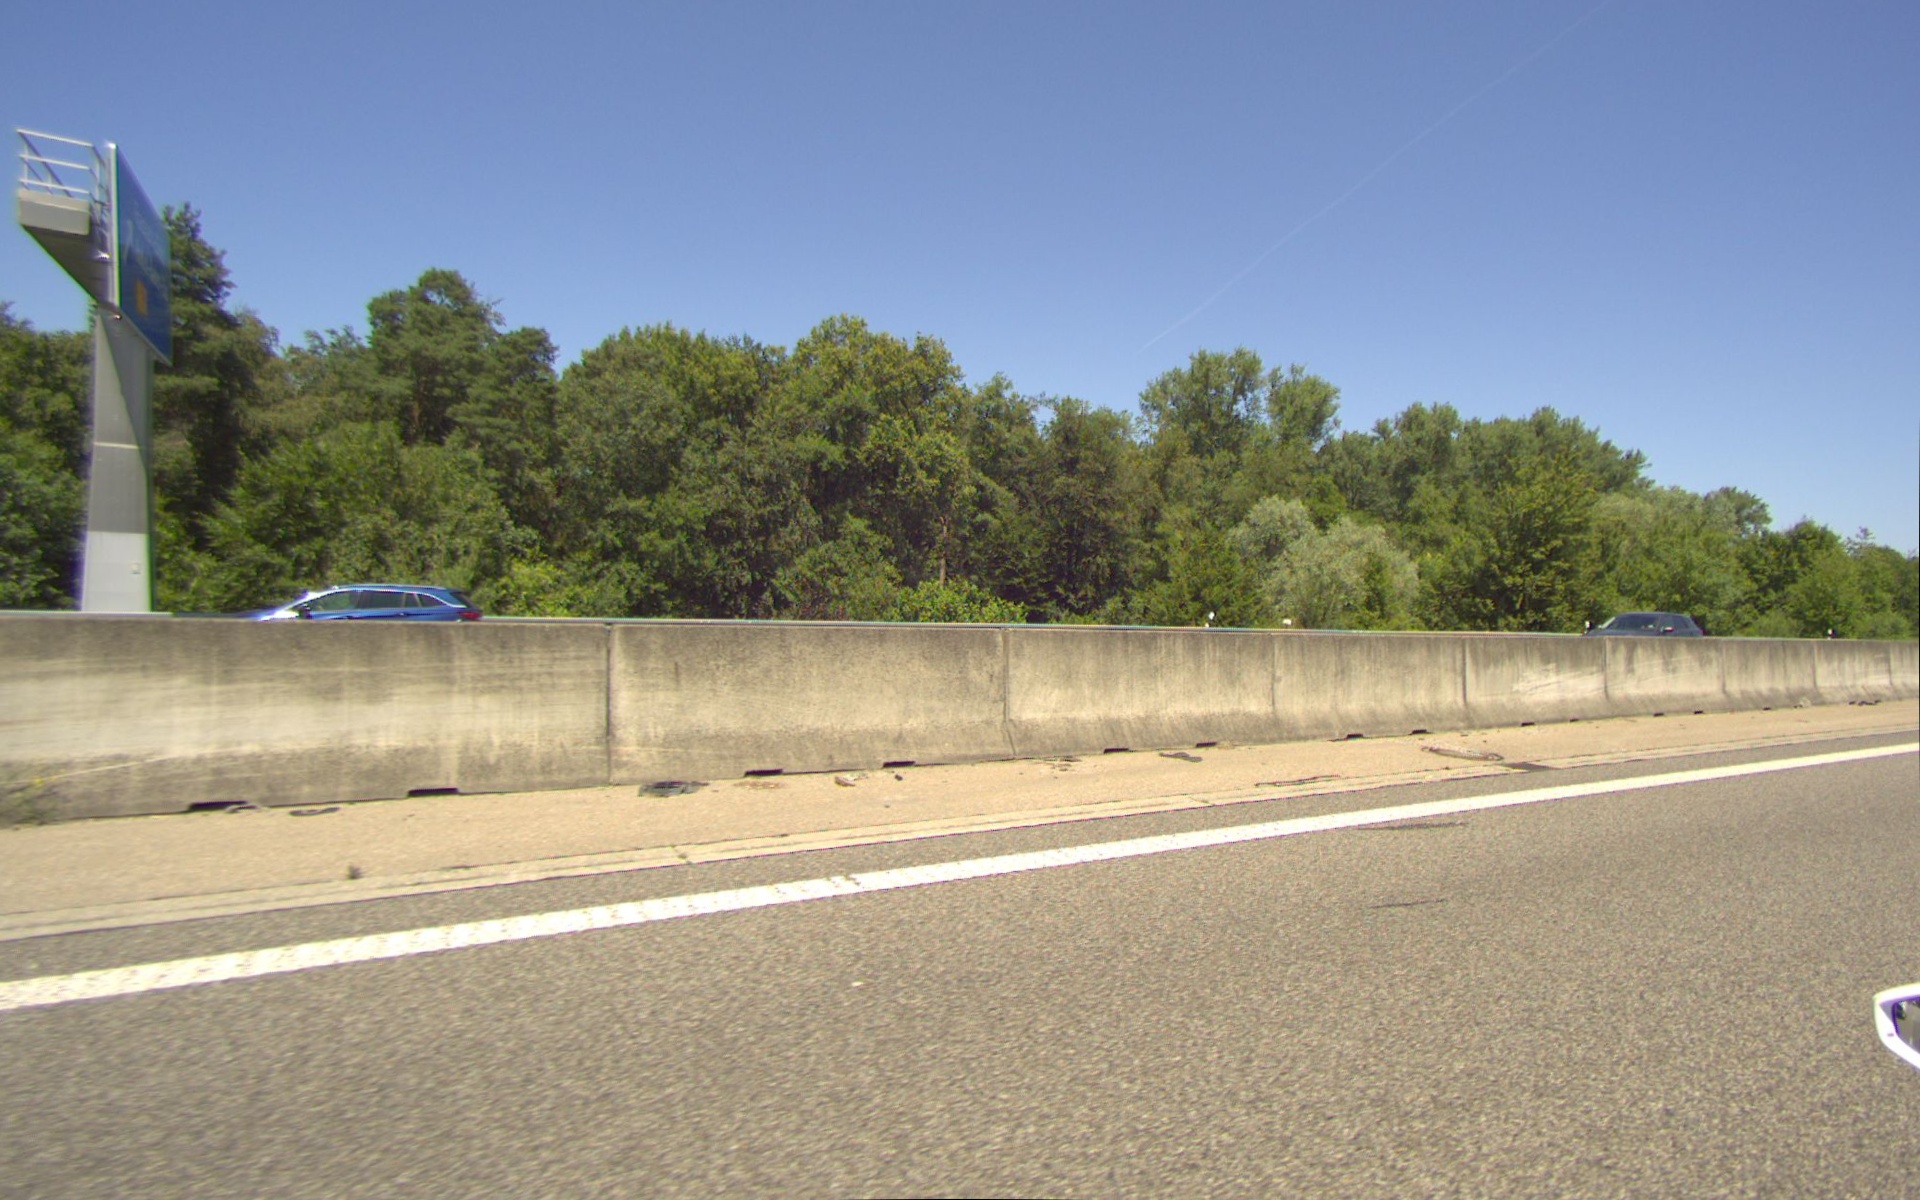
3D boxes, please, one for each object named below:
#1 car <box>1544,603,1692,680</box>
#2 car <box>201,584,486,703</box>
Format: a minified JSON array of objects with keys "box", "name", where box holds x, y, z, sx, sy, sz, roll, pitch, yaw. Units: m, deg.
[{"box":[19.055,1.176,29.079,4.038,2.040,1.984,2,0,-30],"name":"car"},{"box":[-11.524,0.796,19.137,4.375,2.040,1.985,2,0,-29],"name":"car"}]
